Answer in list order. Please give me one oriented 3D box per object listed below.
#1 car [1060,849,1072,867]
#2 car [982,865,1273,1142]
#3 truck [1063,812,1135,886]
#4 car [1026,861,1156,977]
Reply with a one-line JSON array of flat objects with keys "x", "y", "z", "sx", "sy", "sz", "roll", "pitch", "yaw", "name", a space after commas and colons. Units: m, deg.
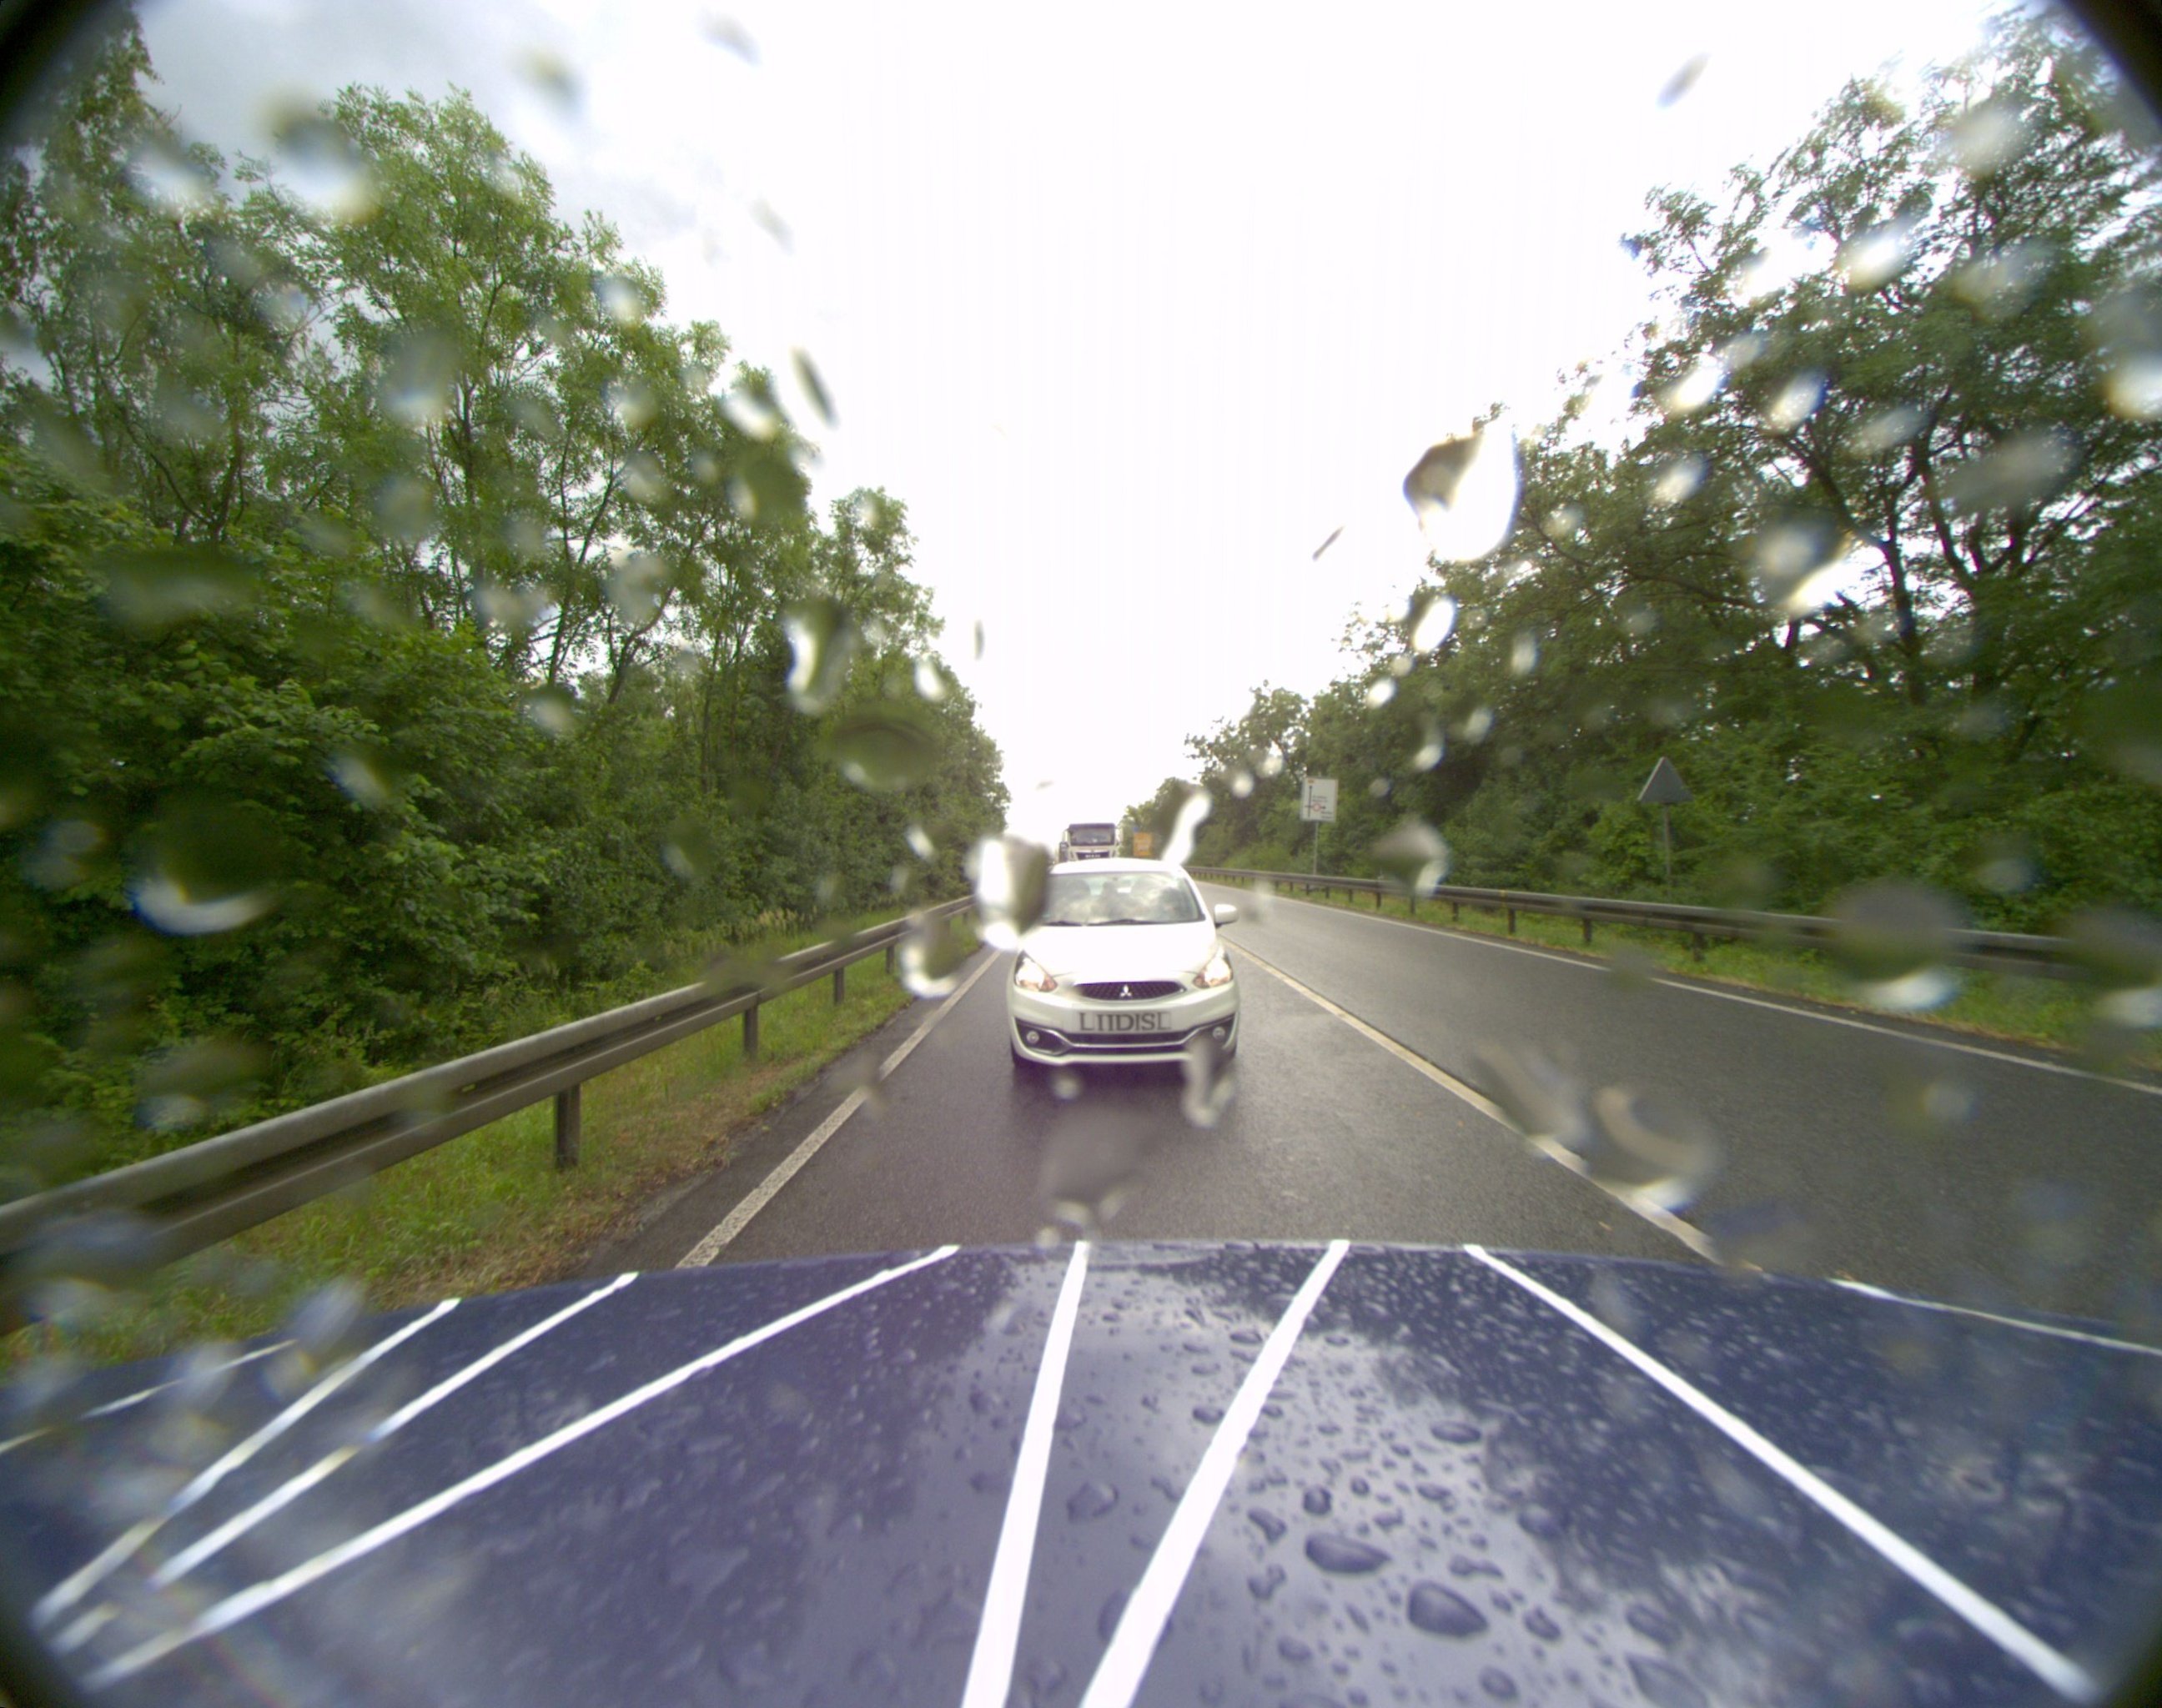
[{"x": -2.069, "y": 0.517, "z": 105.984, "sx": 1.613, "sy": 2.422, "sz": 3.999, "roll": -2, "pitch": 1, "yaw": 0, "name": "car"}, {"x": 0.262, "y": 0.888, "z": 6.438, "sx": 1.610, "sy": 1.435, "sz": 4.208, "roll": -2, "pitch": 0, "yaw": 0, "name": "car"}, {"x": 0.743, "y": -0.269, "z": 40.497, "sx": 3.137, "sy": 3.364, "sz": 9.280, "roll": -2, "pitch": 1, "yaw": -2, "name": "truck"}, {"x": 0.201, "y": 0.870, "z": 12.129, "sx": 1.640, "sy": 1.413, "sz": 4.492, "roll": -2, "pitch": 0, "yaw": 2, "name": "car"}]
